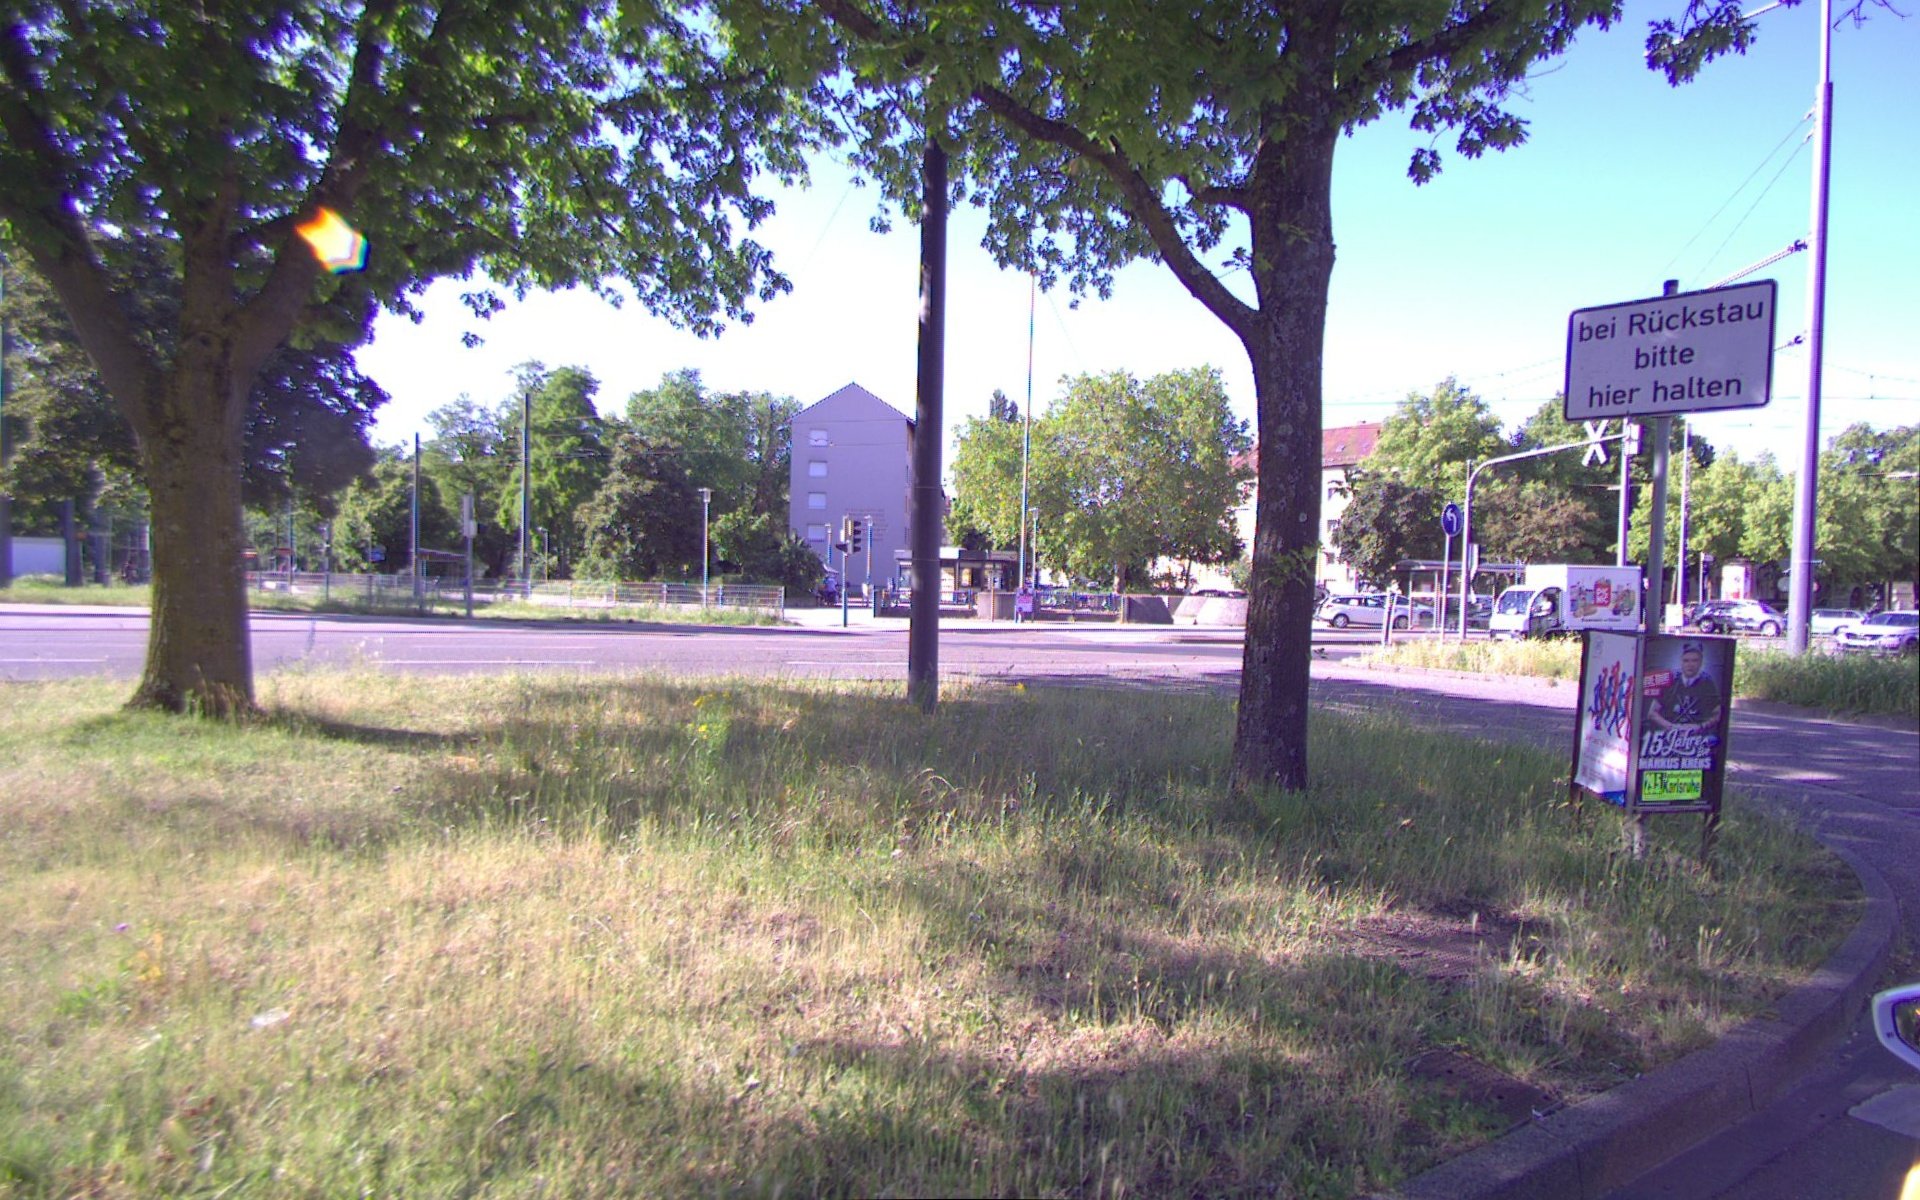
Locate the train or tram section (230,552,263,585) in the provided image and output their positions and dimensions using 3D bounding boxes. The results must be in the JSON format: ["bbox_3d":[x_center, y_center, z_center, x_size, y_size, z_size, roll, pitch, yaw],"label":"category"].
[{"bbox_3d":[-71.727,-3.219,100.892,2.446,2.979,19.640,1,1,-36],"label":"train or tram section"}]

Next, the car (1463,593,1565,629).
[{"bbox_3d":[26.129,0.513,47.427,3.936,1.509,1.760,0,4,-10],"label":"car"}]

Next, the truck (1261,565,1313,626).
[{"bbox_3d":[17.185,-0.305,53.015,1.959,3.035,4.831,1,2,11],"label":"truck"}]

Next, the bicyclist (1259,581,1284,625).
[{"bbox_3d":[11.136,0.090,35.932,0.663,1.551,0.614,1,3,-2],"label":"bicyclist"}]

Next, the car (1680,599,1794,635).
[{"bbox_3d":[38.385,0.812,49.694,1.975,1.593,3.971,1,1,-27],"label":"car"}]

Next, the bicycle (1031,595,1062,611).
[{"bbox_3d":[4.858,0.157,56.380,1.652,0.850,0.548,2,1,16],"label":"bicycle"}]

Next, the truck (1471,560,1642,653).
[{"bbox_3d":[16.811,0.180,28.376,4.041,2.459,1.788,1,1,-15],"label":"truck"}]

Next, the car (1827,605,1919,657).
[{"bbox_3d":[29.034,0.953,30.761,4.331,1.468,1.662,1,1,-17],"label":"car"}]

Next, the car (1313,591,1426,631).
[{"bbox_3d":[18.587,0.460,45.782,4.457,1.565,1.873,2,4,12],"label":"car"}]

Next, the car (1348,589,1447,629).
[{"bbox_3d":[20.921,0.435,48.073,3.924,1.741,1.762,1,4,-5],"label":"car"}]

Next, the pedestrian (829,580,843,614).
[{"bbox_3d":[-6.955,-0.176,56.438,0.714,1.854,0.558,1,1,-11],"label":"pedestrian"}]

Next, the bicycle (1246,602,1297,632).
[{"bbox_3d":[11.133,0.617,35.954,1.626,1.015,0.614,1,2,-2],"label":"bicycle"}]

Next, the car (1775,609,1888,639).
[{"bbox_3d":[43.730,1.177,50.458,1.982,1.260,3.957,1,2,-37],"label":"car"}]
